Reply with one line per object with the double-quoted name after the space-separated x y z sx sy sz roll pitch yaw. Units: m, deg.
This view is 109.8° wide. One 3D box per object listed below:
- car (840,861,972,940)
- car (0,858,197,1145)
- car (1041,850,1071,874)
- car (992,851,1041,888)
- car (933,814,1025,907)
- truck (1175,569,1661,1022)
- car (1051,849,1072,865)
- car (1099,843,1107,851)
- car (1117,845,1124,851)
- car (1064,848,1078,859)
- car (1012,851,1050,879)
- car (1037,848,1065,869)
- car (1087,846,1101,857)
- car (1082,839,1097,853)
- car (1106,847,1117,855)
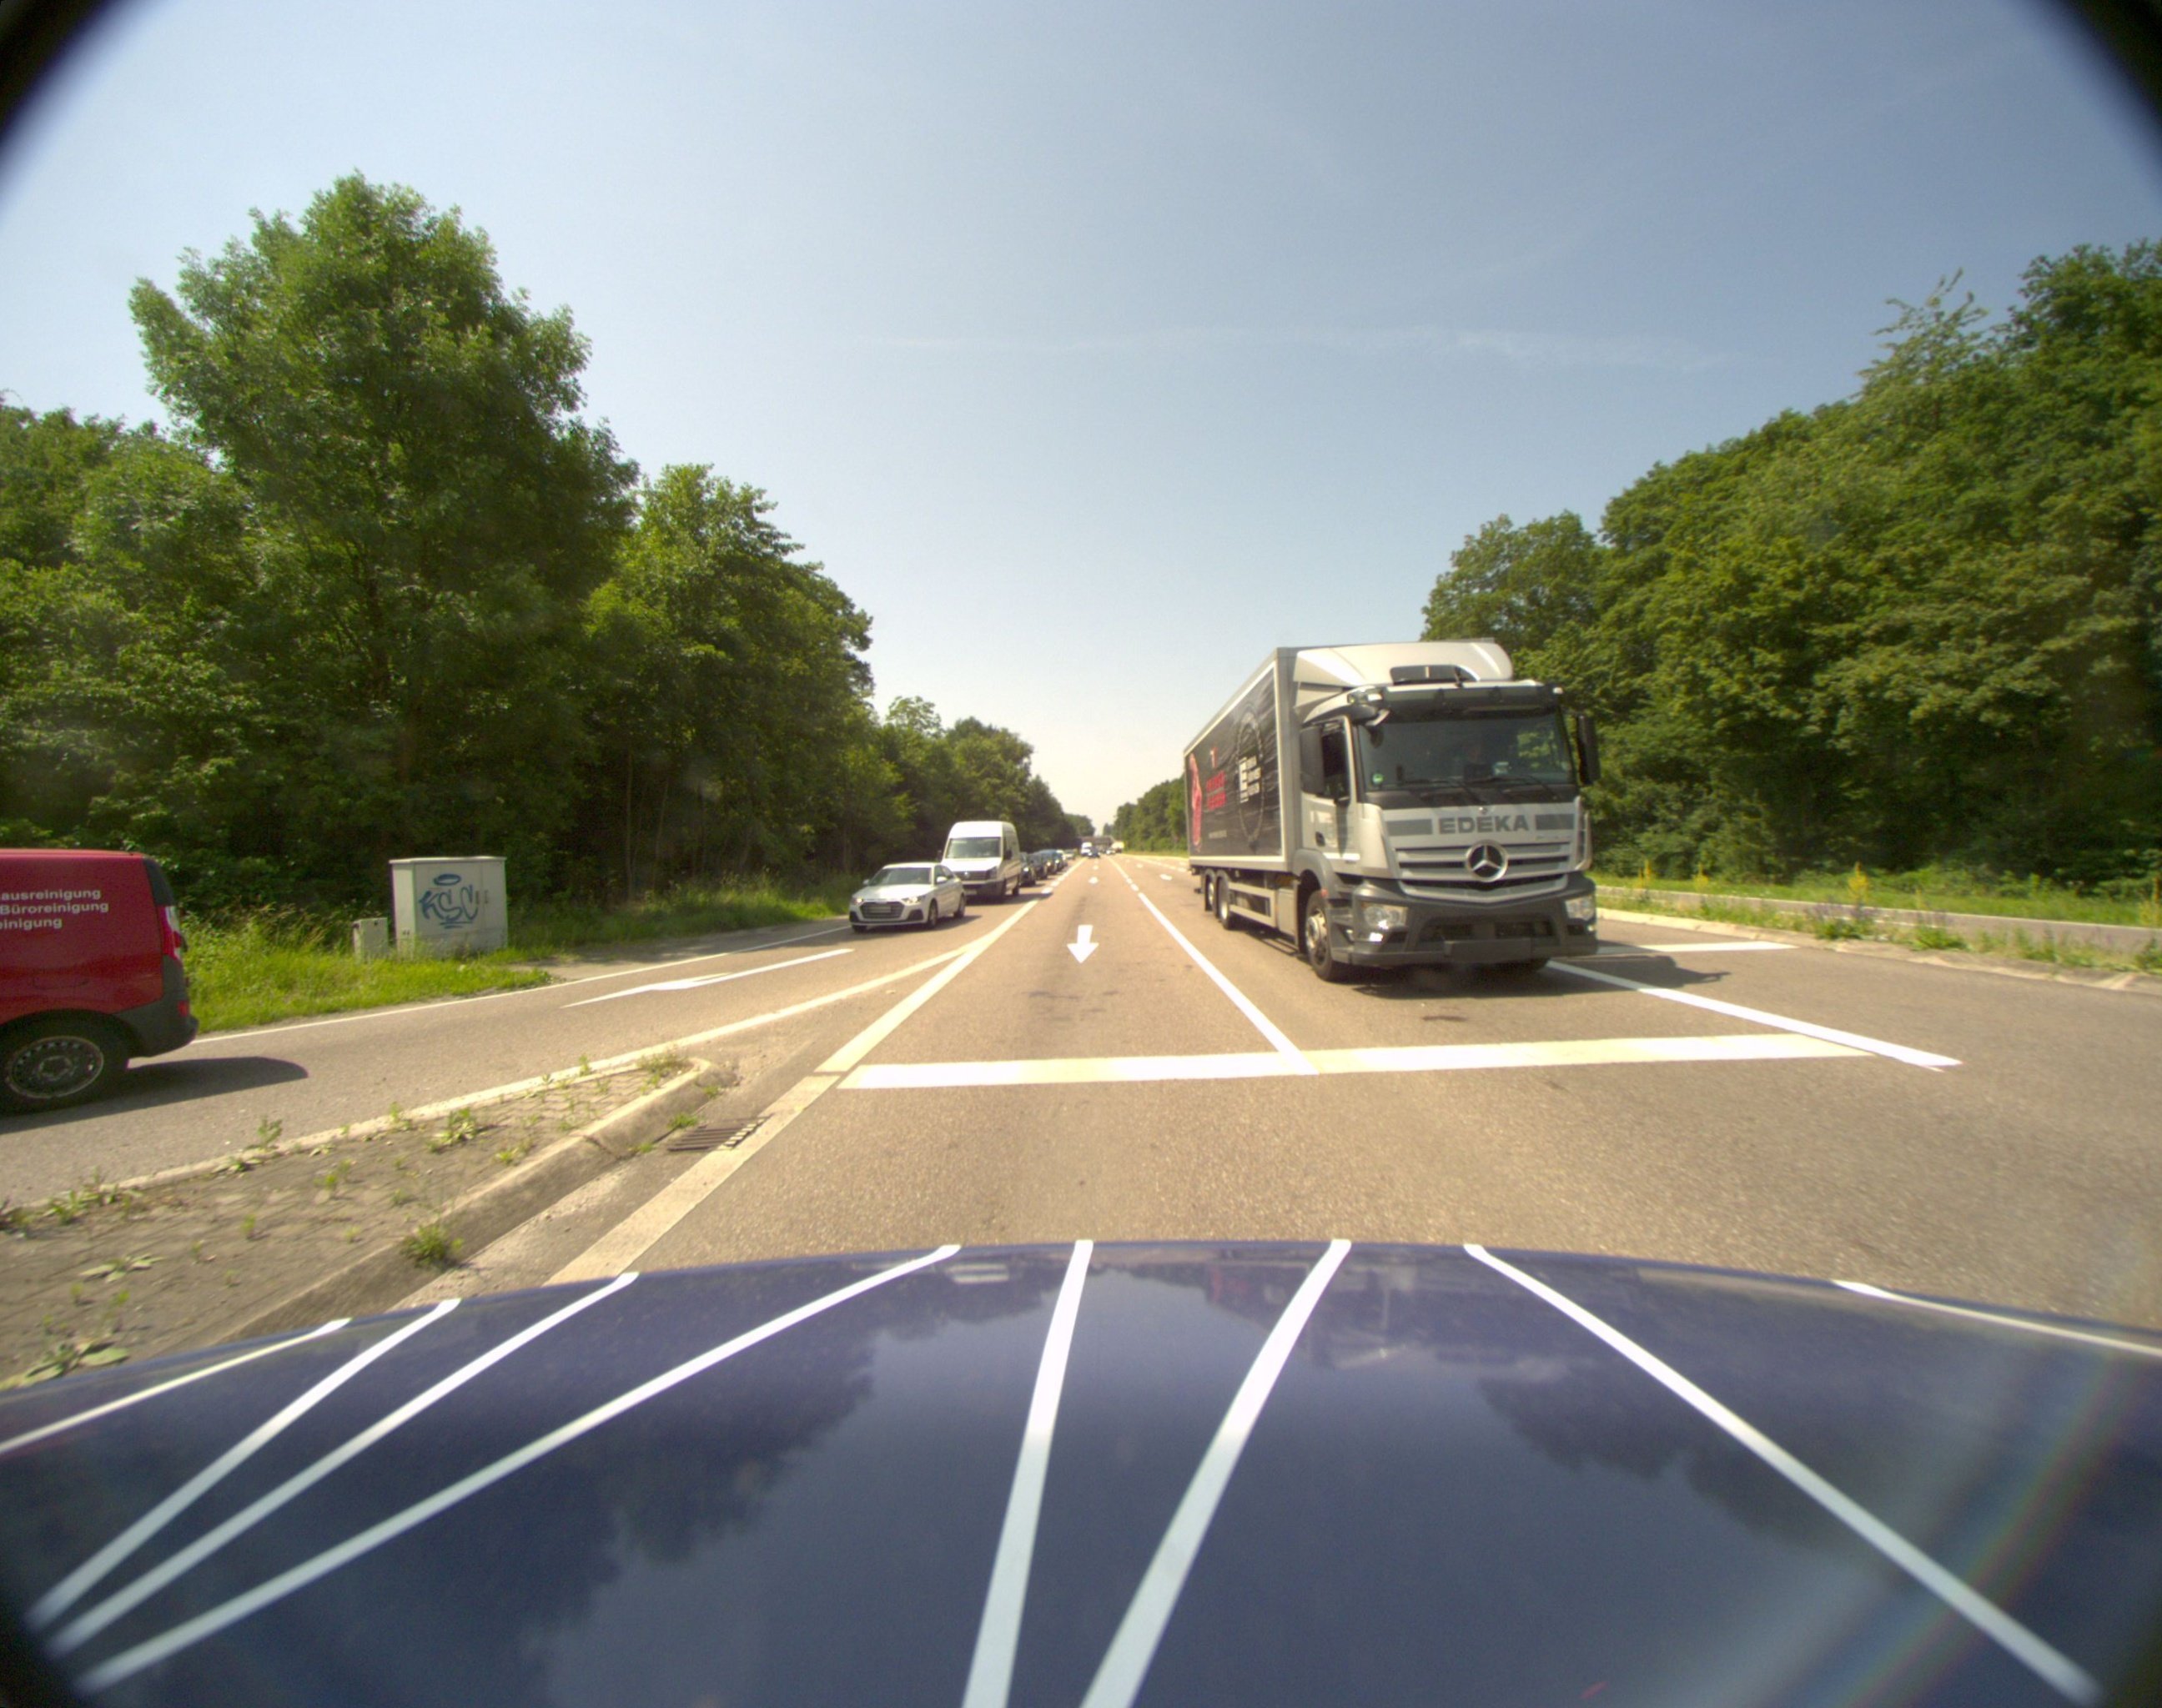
-3.824 0.961 17.321 1.693 1.427 4.001 -3 1 5 "car"
-8.460 1.005 4.141 1.793 1.812 4.505 -2 0 34 "car"
-1.576 0.501 49.384 1.796 1.431 4.228 -1 1 0 "car"
-2.877 0.661 34.610 1.796 1.452 4.228 -3 1 0 "car"
-3.221 0.166 25.380 1.974 2.630 6.060 -2 1 2 "car"
3.670 -0.580 12.327 2.753 3.863 11.318 -2 1 0 "truck"
-1.766 0.264 69.724 1.796 1.431 4.228 0 1 0 "car"
5.315 -1.591 182.899 1.998 1.868 4.000 0 1 3 "car"
11.666 -1.842 224.517 1.998 1.543 3.999 -2 1 1 "car"
-1.386 -0.057 107.531 1.796 1.431 4.228 -1 1 0 "car"
-2.688 0.568 41.948 1.796 1.348 4.228 -1 1 0 "car"
-2.156 0.323 55.596 1.796 1.431 4.228 -1 1 0 "car"
1.927 -0.378 113.637 1.992 1.575 4.364 -1 1 0 "car"
1.673 -1.533 150.904 2.673 2.685 6.330 0 1 3 "car"
6.242 -0.673 156.340 1.998 1.543 4.000 -1 1 1 "car"
